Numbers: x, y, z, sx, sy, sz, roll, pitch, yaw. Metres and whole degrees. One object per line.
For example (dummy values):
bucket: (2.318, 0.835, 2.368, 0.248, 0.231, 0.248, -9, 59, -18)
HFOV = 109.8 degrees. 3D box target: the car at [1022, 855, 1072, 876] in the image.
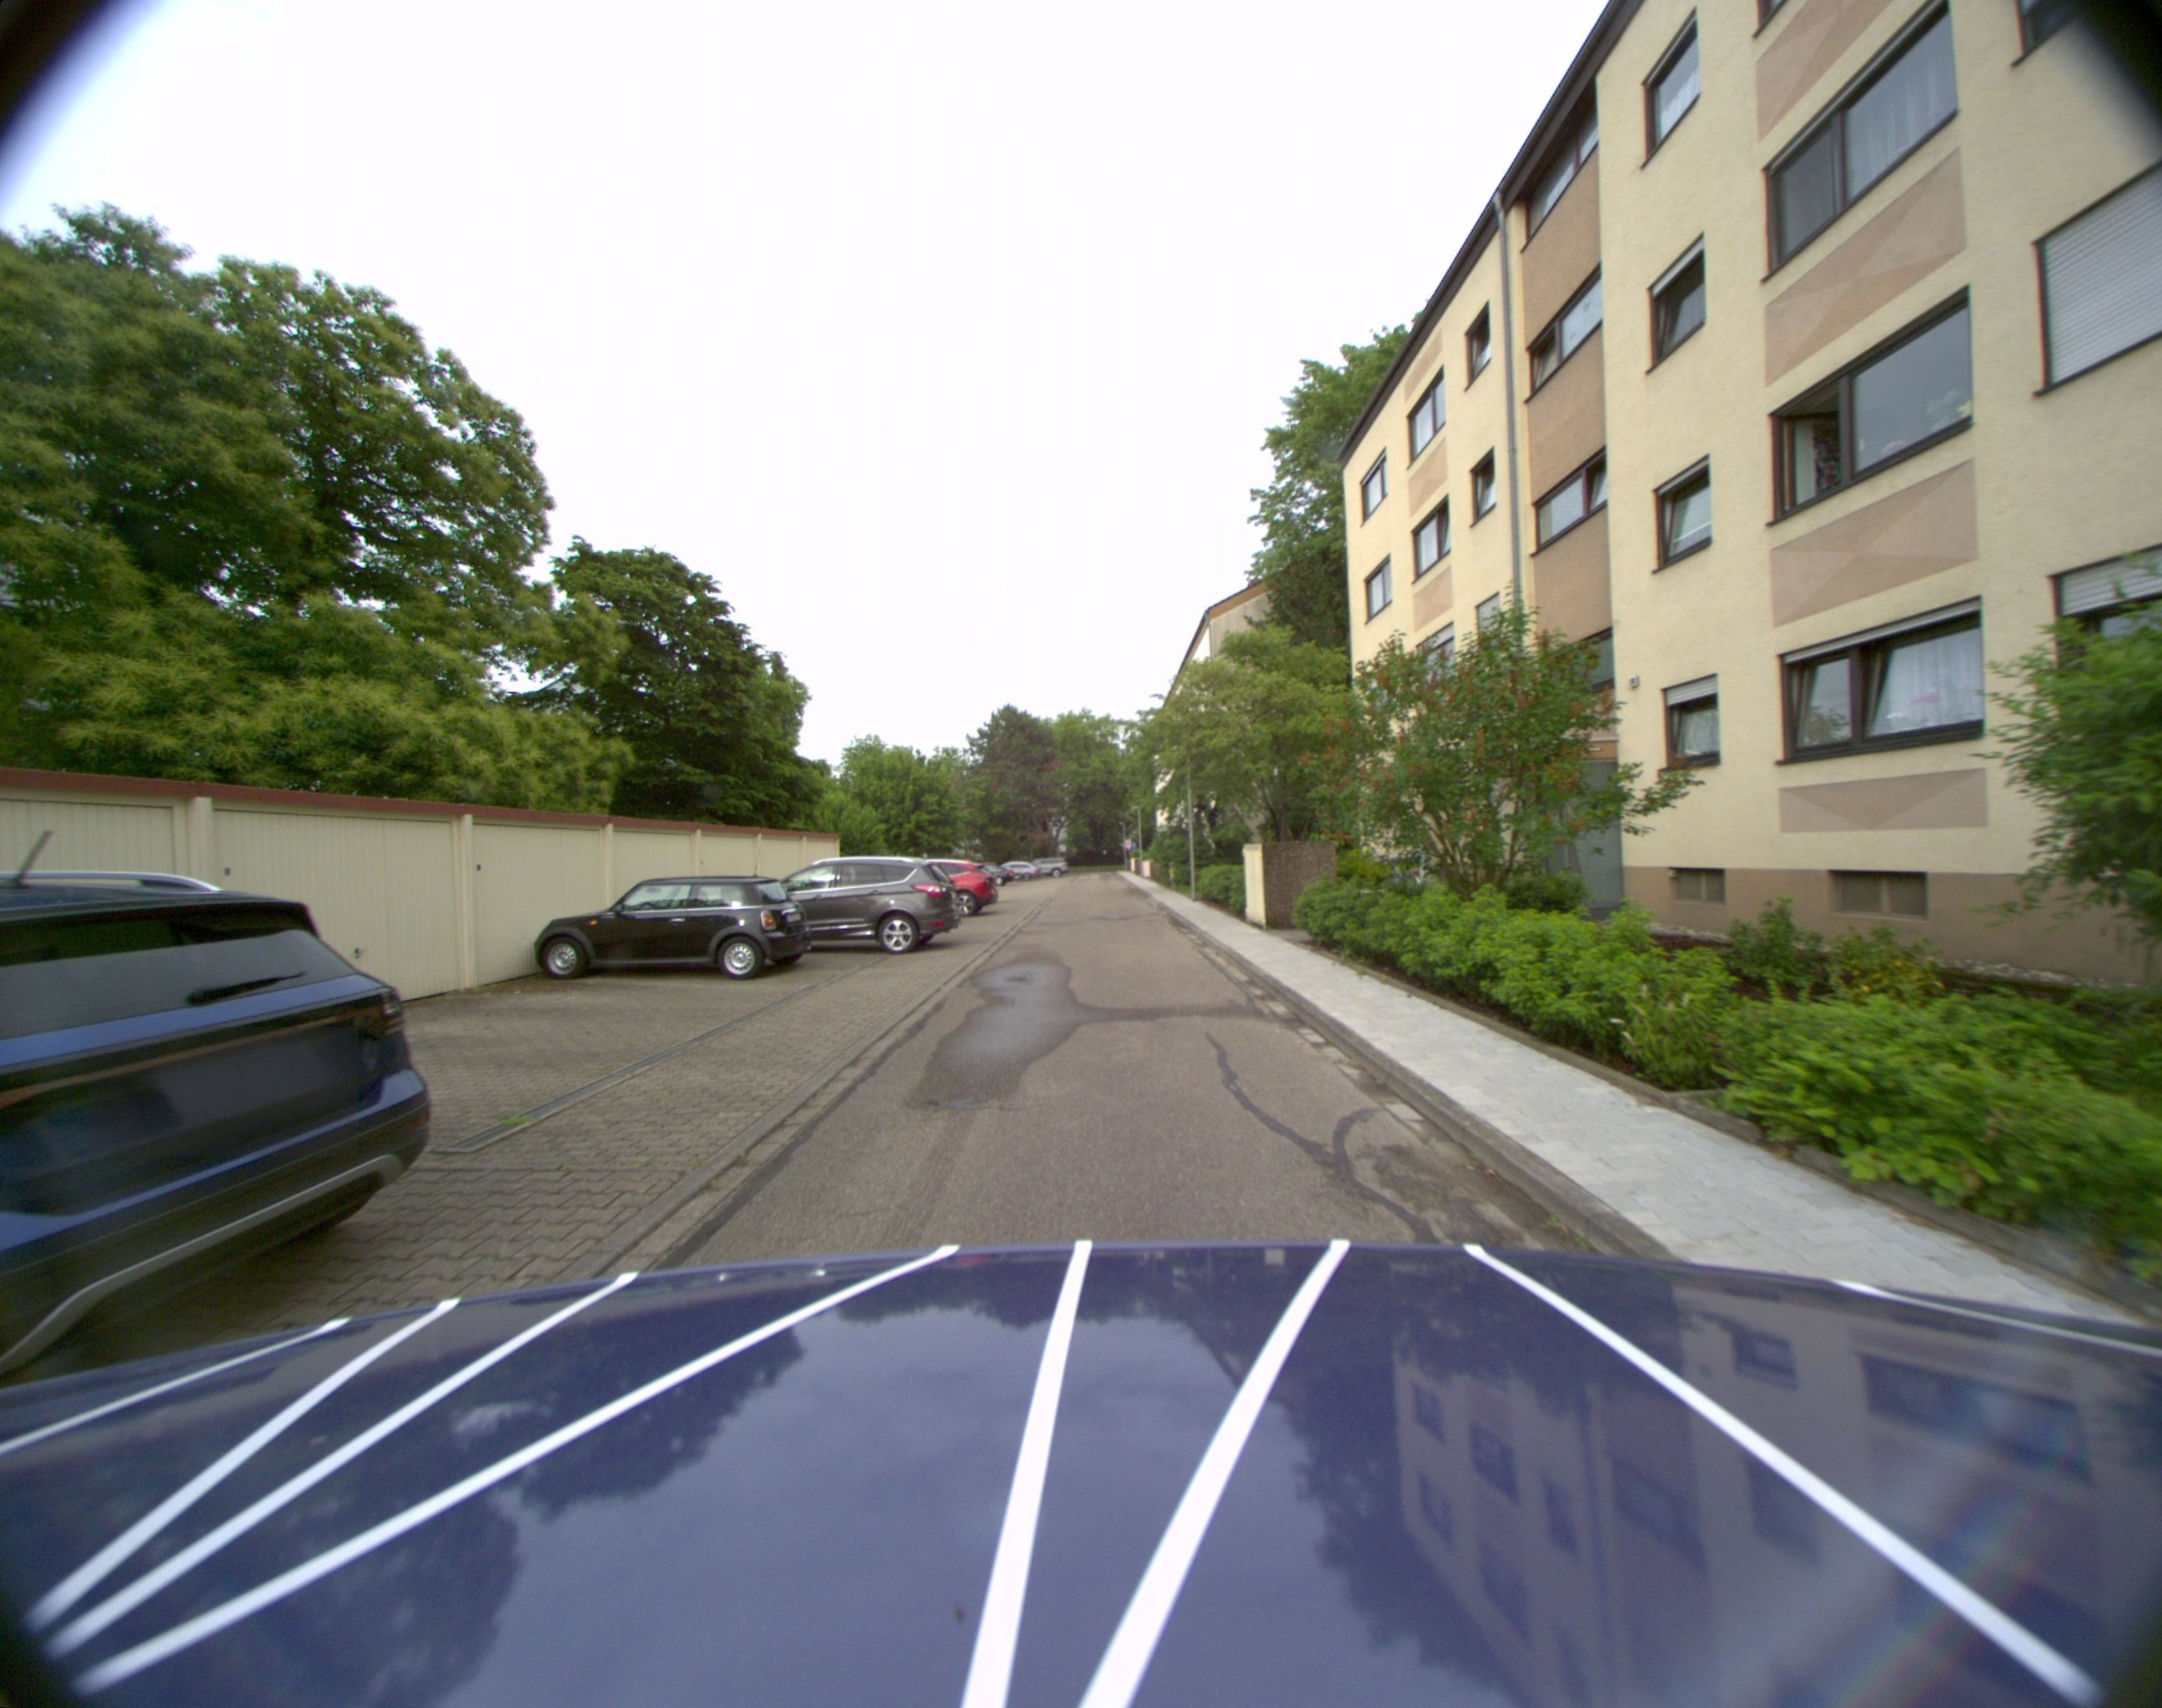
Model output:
car: (-2.901, 0.964, 65.141, 4.104, 1.636, 1.787, -3, 0, 0)

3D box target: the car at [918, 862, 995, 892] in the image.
car: (-6.876, 1.281, 42.277, 3.976, 1.426, 1.731, -3, 0, -1)

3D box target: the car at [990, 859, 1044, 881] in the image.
car: (-5.044, 1.264, 60.159, 4.104, 1.476, 1.787, -3, 0, 0)

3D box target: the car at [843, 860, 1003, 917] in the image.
car: (-4.562, 0.973, 22.401, 4.299, 1.577, 1.935, 0, 0, 0)

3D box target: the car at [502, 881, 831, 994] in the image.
car: (-5.938, 1.168, 11.283, 3.766, 1.437, 2.000, 0, 0, 1)

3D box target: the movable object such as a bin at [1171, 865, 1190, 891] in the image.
movable object such as a bin: (3.969, 0.939, 30.310, 0.597, 1.016, 0.536, 0, 0, -18)

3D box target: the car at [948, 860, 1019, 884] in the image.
car: (-6.319, 1.138, 49.600, 4.334, 1.476, 1.788, 1, 0, 1)

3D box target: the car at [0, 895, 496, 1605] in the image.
car: (-4.700, 1.043, 2.497, 3.997, 1.693, 2.000, 0, 0, 1)

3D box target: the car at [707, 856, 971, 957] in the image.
car: (-4.296, 0.906, 14.023, 4.205, 1.717, 2.000, 0, 0, 1)

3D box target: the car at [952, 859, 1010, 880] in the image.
car: (-7.581, 1.172, 57.832, 4.103, 1.476, 1.788, 1, 0, 1)

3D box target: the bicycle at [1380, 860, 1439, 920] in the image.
bicycle: (6.125, 0.663, 14.249, 0.315, 1.045, 1.692, -2, -1, 0)
